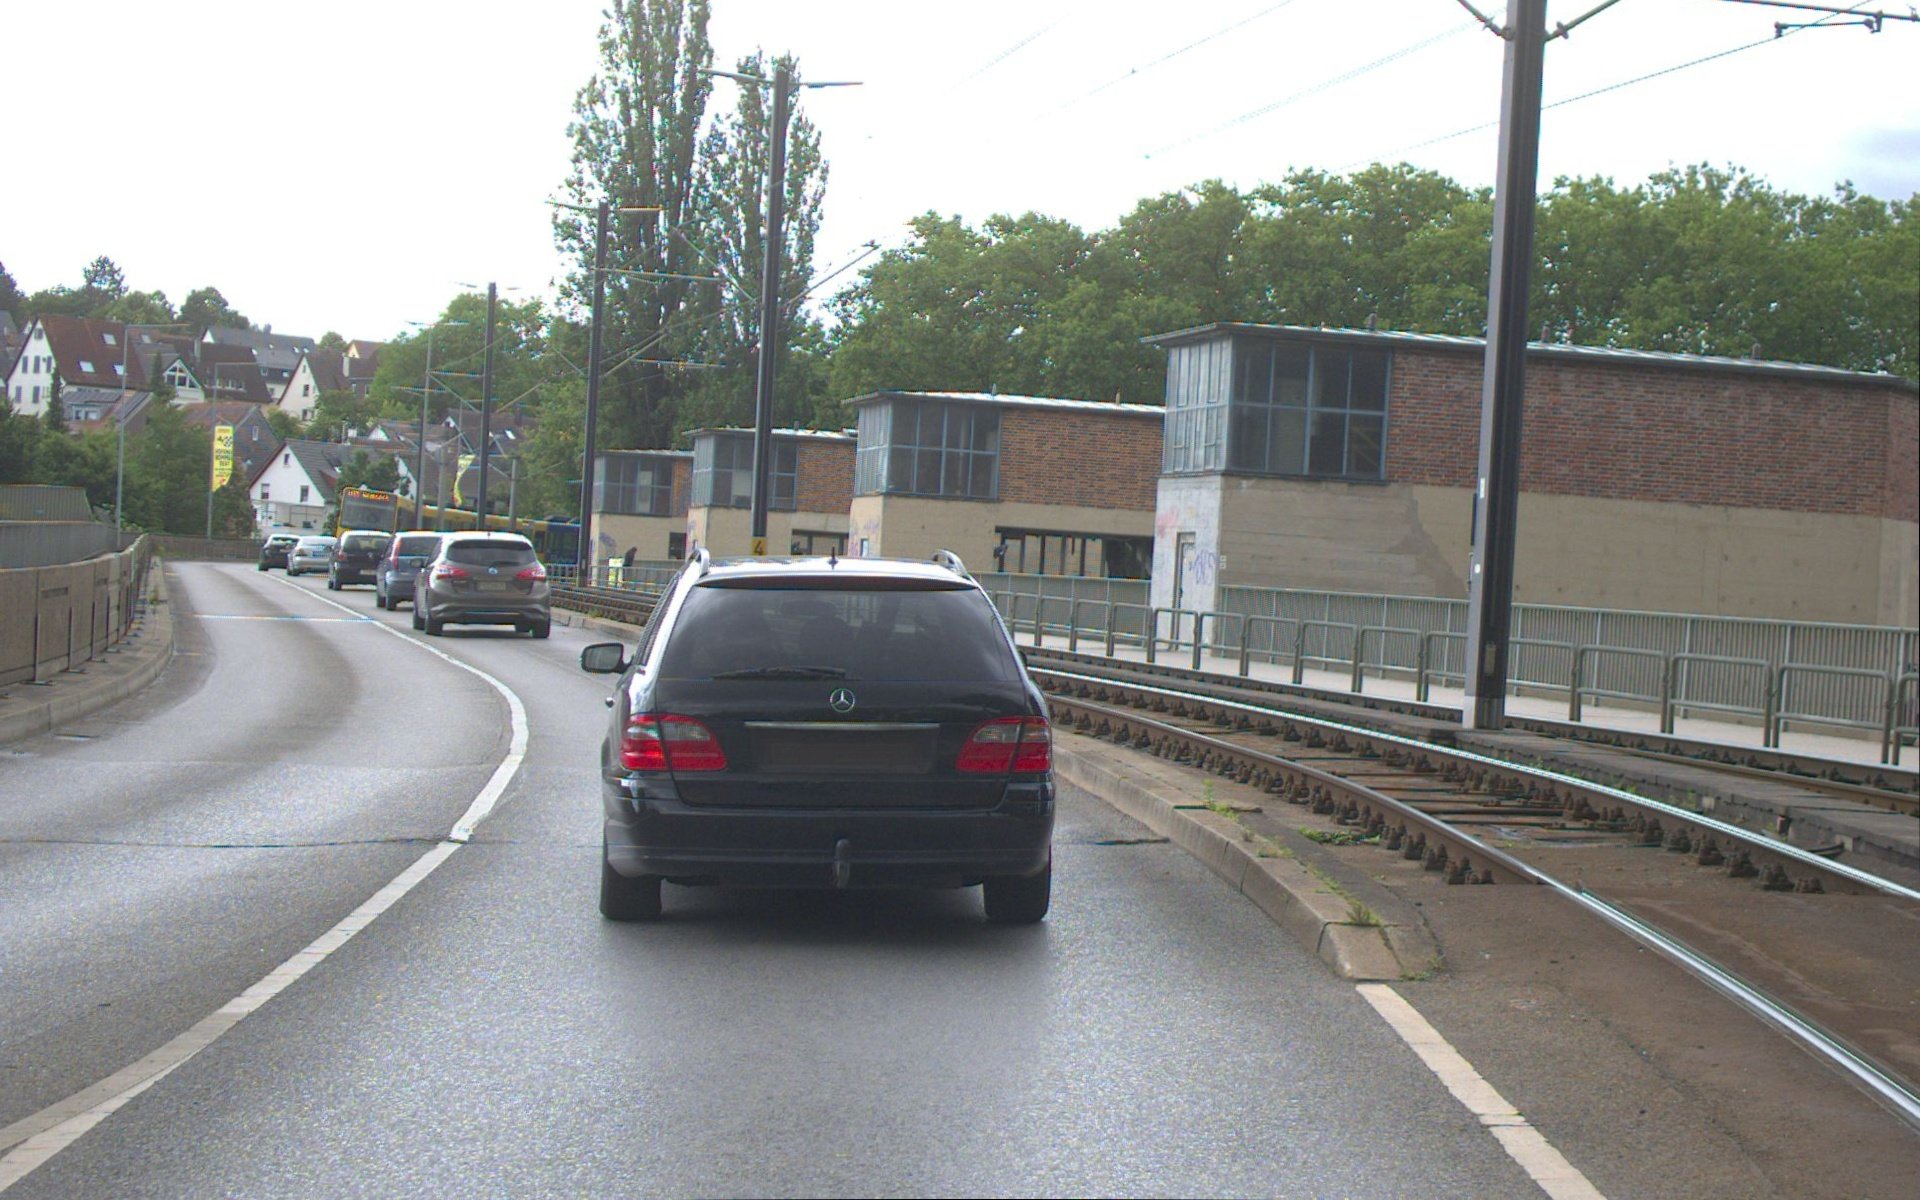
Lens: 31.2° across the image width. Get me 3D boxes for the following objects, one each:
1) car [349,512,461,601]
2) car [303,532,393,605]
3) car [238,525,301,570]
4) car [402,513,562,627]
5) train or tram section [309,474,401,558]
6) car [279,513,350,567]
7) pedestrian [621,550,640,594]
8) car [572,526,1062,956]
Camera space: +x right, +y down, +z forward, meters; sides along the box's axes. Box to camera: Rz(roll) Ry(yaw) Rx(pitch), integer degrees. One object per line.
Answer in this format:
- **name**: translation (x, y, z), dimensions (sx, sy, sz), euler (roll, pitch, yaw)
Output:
- **car**: translation (-10.622, -0.865, 65.579), dimensions (1.993, 1.559, 4.999), euler (0, 2, -10)
- **car**: translation (-14.992, -0.786, 84.029), dimensions (1.993, 1.667, 4.542), euler (1, 2, -12)
- **car**: translation (-26.945, -2.070, 134.001), dimensions (1.993, 1.565, 4.907), euler (3, 1, -15)
- **car**: translation (-7.116, -0.471, 50.913), dimensions (1.770, 1.550, 4.242), euler (2, 1, -15)
- **train or tram section**: translation (-27.578, -3.732, 156.033), dimensions (2.881, 3.497, 18.673), euler (1, 1, -14)
- **car**: translation (-20.593, -1.923, 109.557), dimensions (1.993, 1.565, 4.907), euler (3, 1, -12)
- **pedestrian**: translation (-12.191, -1.035, 127.114), dimensions (0.577, 1.604, 0.613), euler (3, 0, -12)
- **car**: translation (-0.602, 0.475, 14.855), dimensions (1.759, 1.510, 4.443), euler (2, 1, -2)
